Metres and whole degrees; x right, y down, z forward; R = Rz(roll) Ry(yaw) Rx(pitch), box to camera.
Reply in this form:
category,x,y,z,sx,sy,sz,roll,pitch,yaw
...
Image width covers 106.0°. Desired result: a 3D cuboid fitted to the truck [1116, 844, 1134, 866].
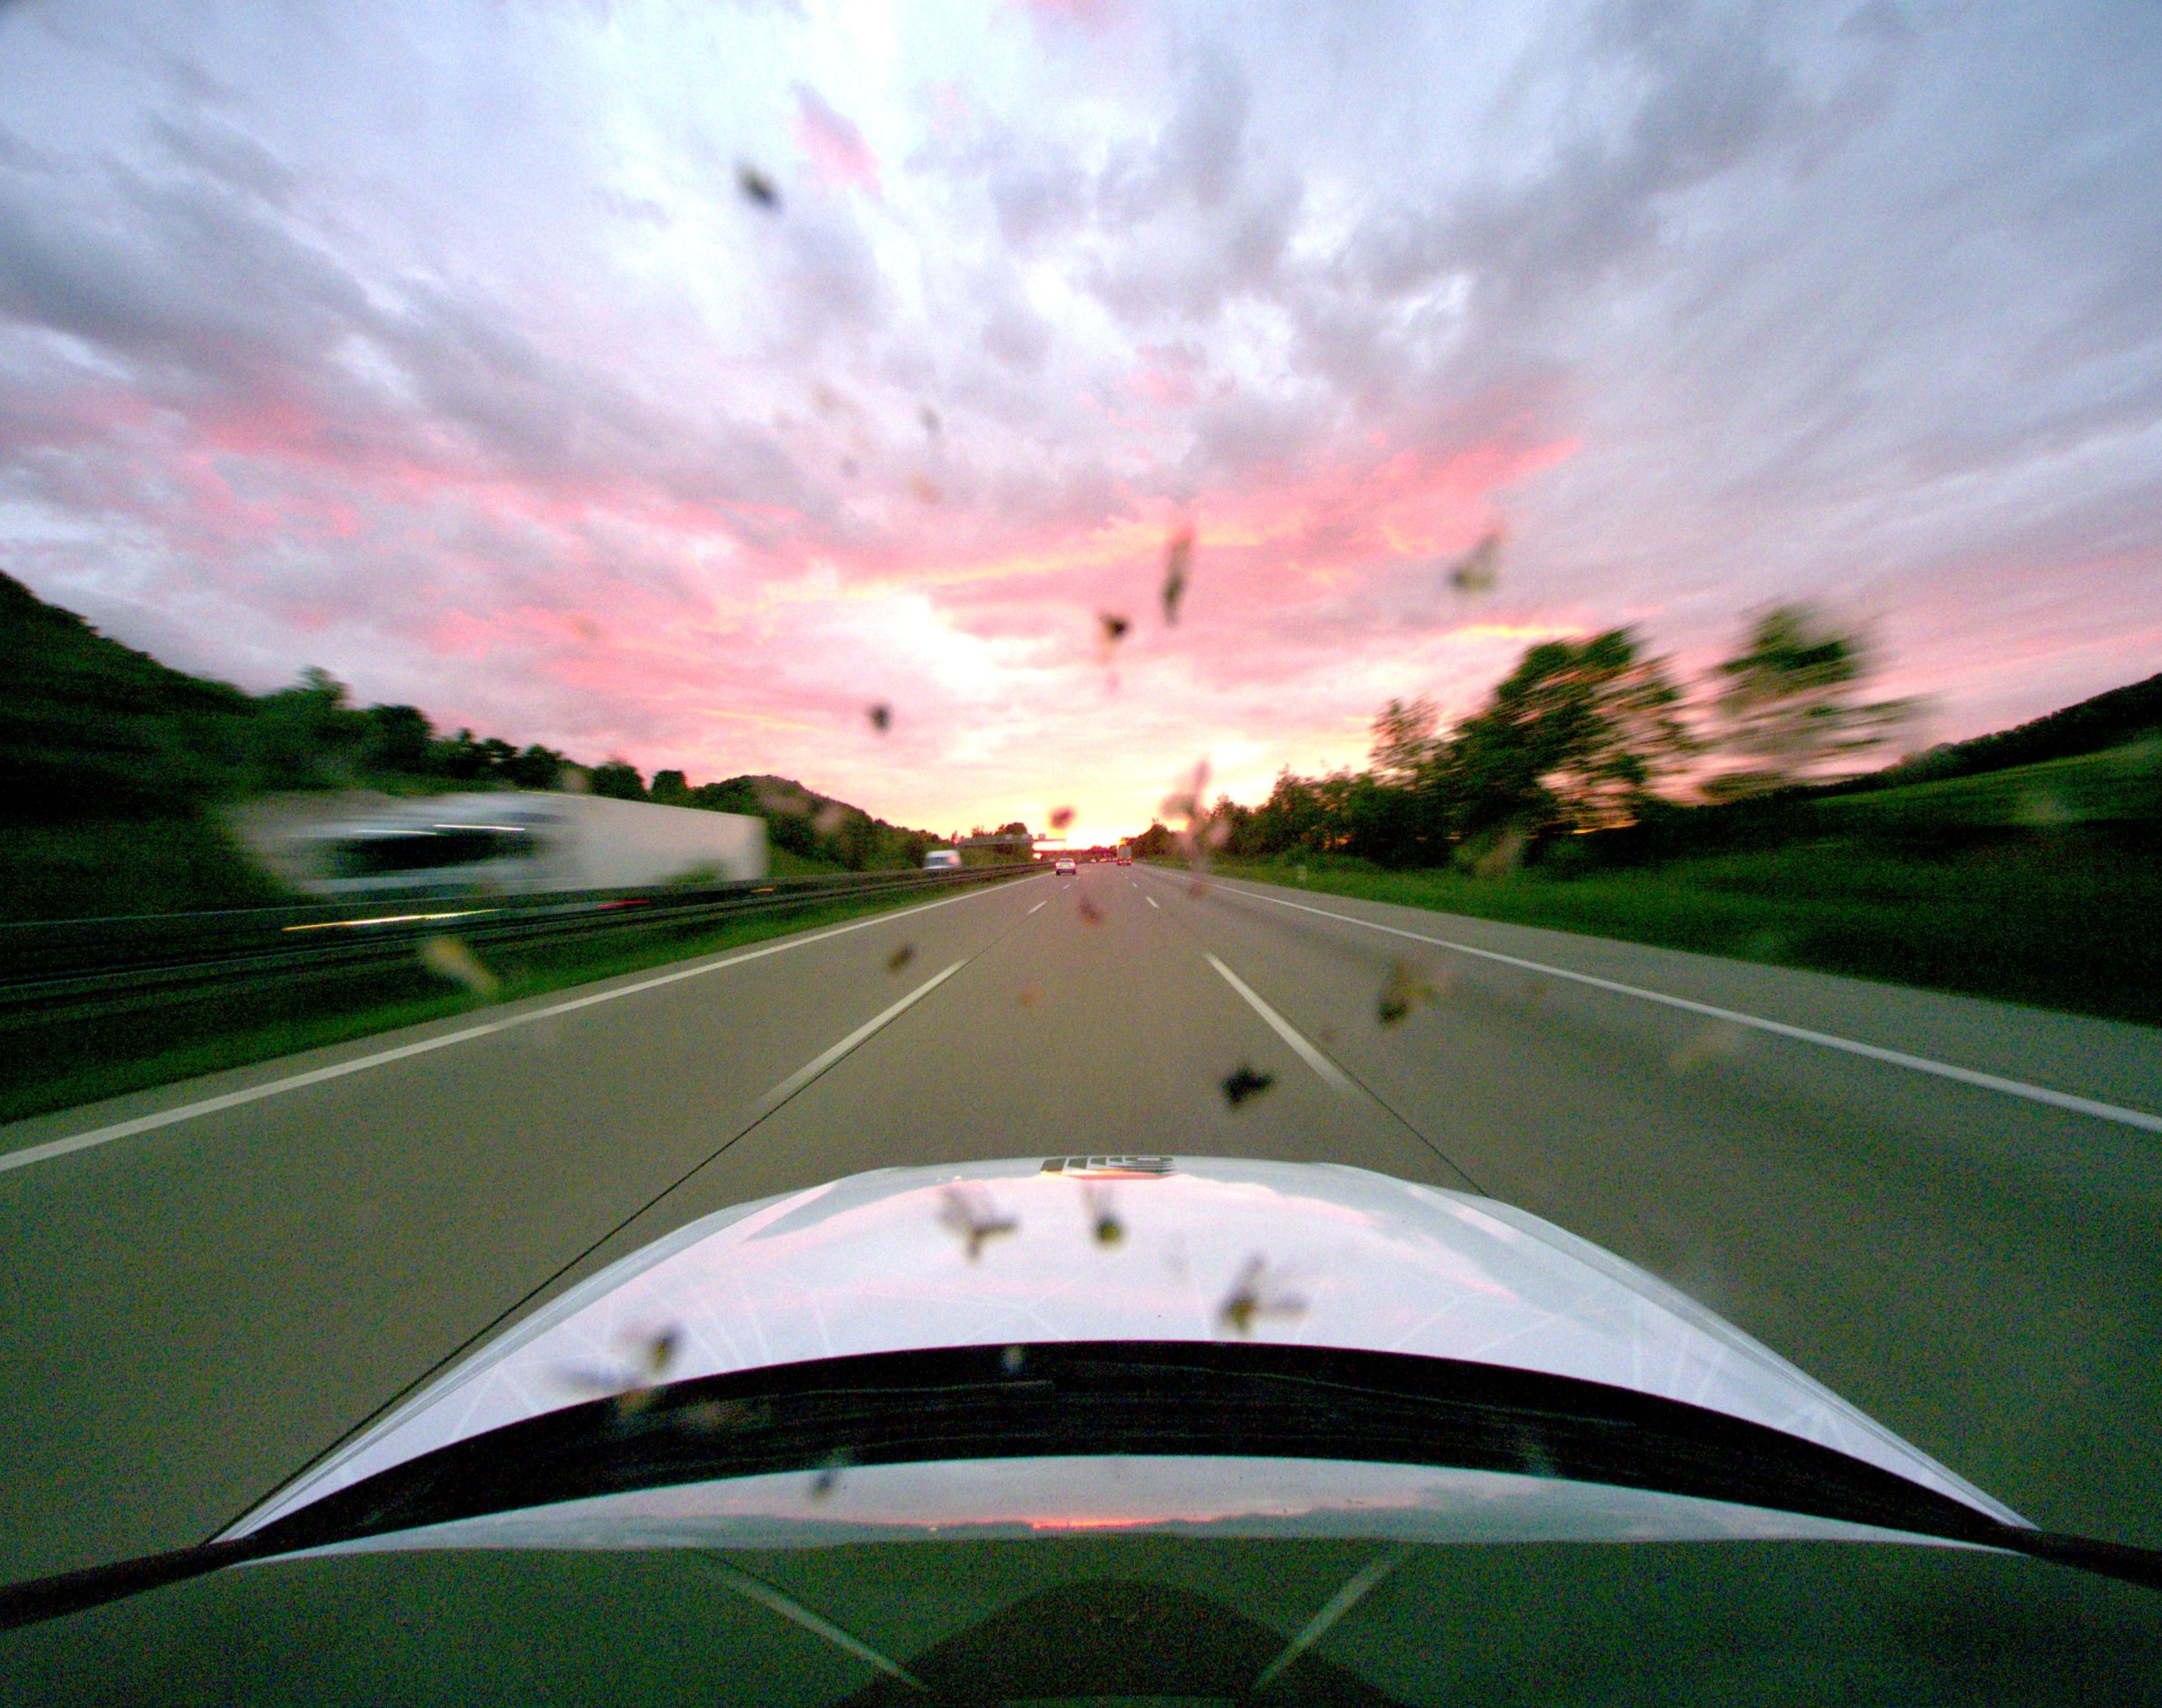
category,x,y,z,sx,sy,sz,roll,pitch,yaw
truck,8.758,0.167,162.768,3.231,4.127,9.792,-2,0,3

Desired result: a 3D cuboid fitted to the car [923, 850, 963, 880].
category,x,y,z,sx,sy,sz,roll,pitch,yaw
car,-11.410,0.909,67.766,1.986,2.287,6.342,-2,0,2

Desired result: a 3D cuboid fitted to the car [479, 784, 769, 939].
category,x,y,z,sx,sy,sz,roll,pitch,yaw
car,-16.172,0.247,31.019,2.788,4.487,13.915,-2,0,2

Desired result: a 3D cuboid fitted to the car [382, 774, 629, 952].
category,x,y,z,sx,sy,sz,roll,pitch,yaw
car,-16.384,0.243,23.807,2.788,4.487,5.931,-2,0,1

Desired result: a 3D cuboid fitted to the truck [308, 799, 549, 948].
category,x,y,z,sx,sy,sz,roll,pitch,yaw
truck,-20.705,0.584,26.389,2.846,4.210,5.867,-2,0,2

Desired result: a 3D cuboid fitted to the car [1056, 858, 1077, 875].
category,x,y,z,sx,sy,sz,roll,pitch,yaw
car,-1.325,1.113,76.819,1.783,1.501,5.039,-1,0,1

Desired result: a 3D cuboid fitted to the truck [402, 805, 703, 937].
category,x,y,z,sx,sy,sz,roll,pitch,yaw
truck,-20.395,0.585,33.337,2.884,4.210,13.608,-2,0,2
